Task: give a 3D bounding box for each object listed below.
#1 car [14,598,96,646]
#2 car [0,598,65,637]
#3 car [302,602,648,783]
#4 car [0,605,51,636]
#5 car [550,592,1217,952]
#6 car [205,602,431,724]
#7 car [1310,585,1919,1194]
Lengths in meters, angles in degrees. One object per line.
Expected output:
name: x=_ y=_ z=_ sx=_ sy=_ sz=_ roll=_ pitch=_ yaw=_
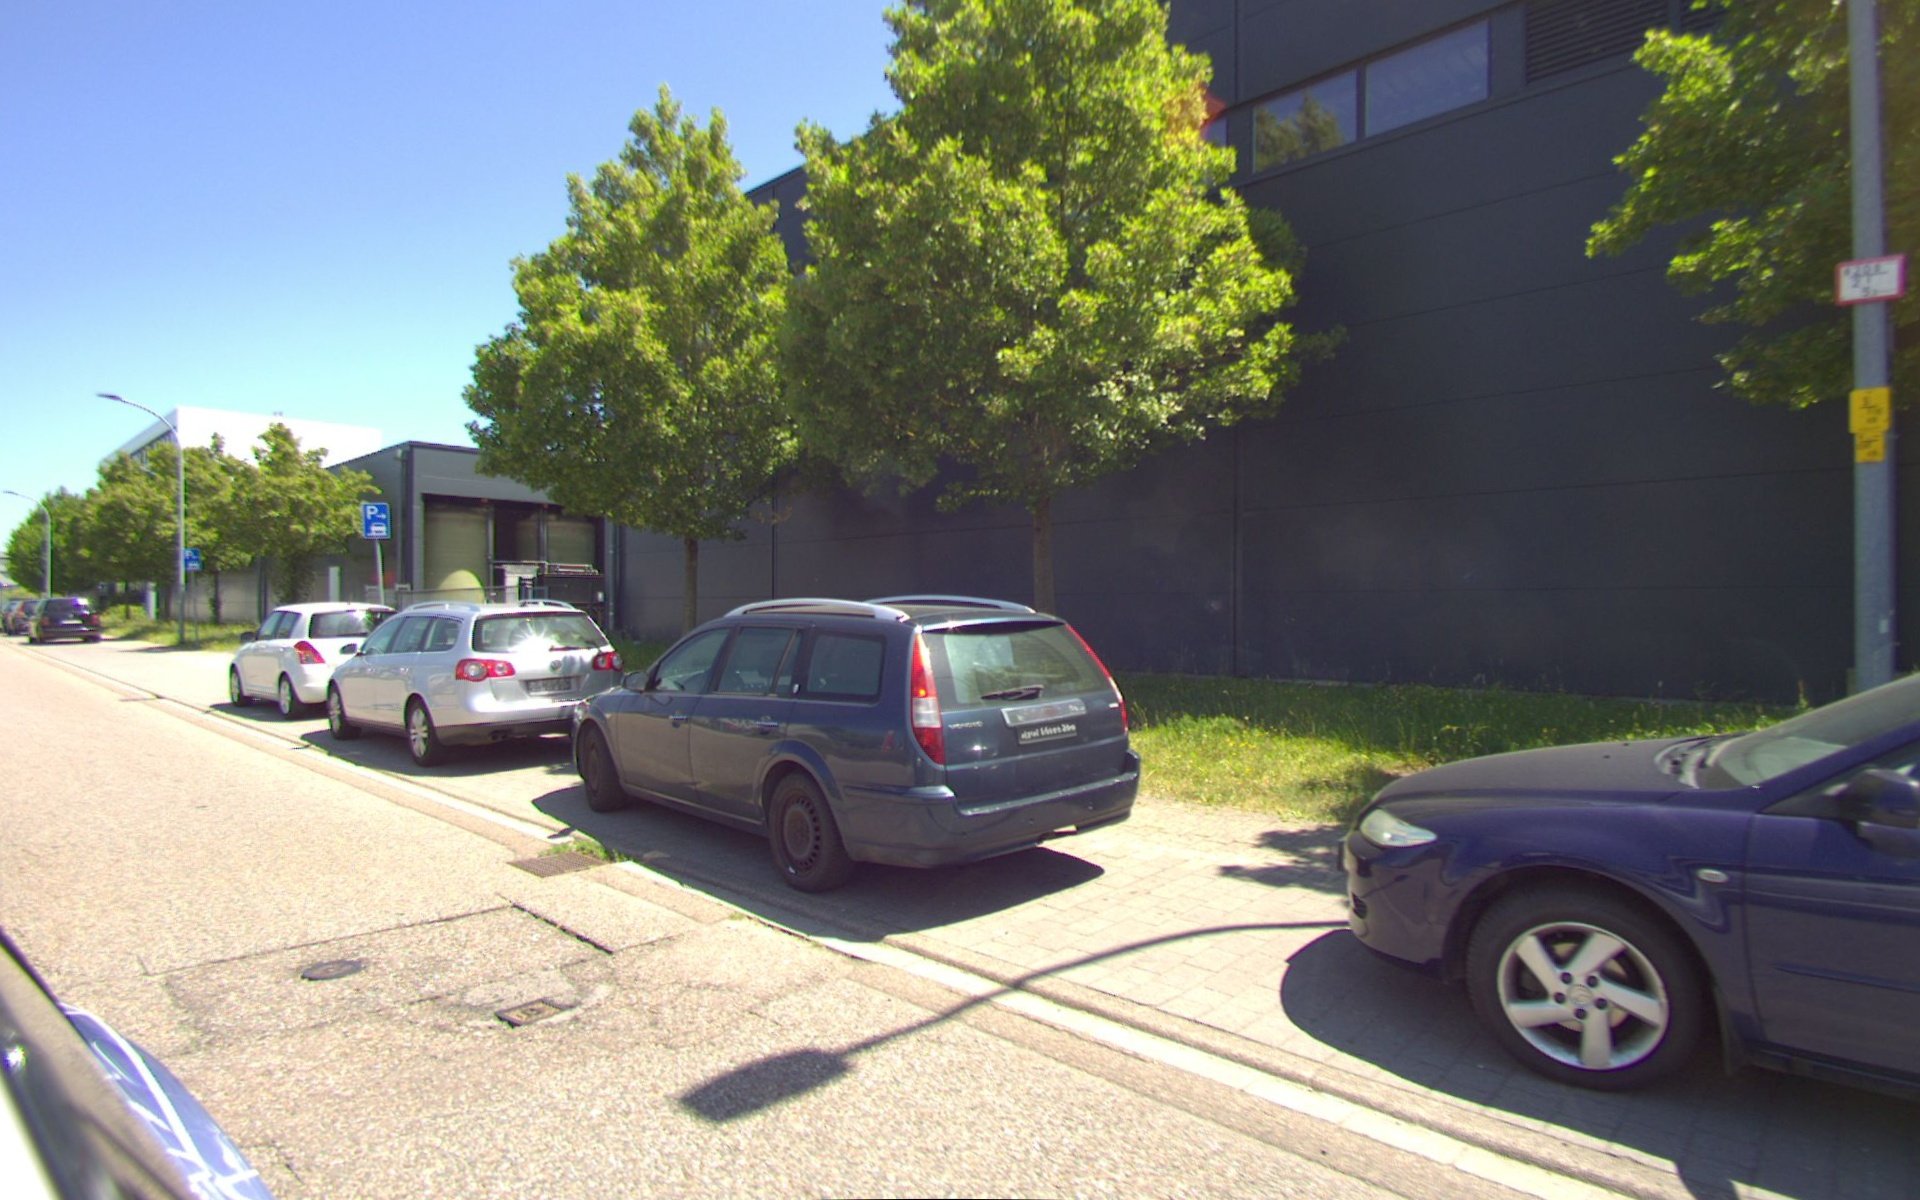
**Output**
car: x=-32.305 y=0.746 z=36.084 sx=4.246 sy=1.623 sz=1.752 roll=0 pitch=0 yaw=42
car: x=-40.986 y=0.752 z=44.605 sx=4.851 sy=1.623 sz=1.752 roll=0 pitch=0 yaw=42
car: x=-5.236 y=0.771 z=10.600 sx=4.555 sy=1.487 sz=1.779 roll=0 pitch=0 yaw=44
car: x=-45.322 y=0.952 z=48.838 sx=4.200 sy=1.442 sz=1.752 roll=0 pitch=0 yaw=42
car: x=-0.854 y=0.711 z=6.504 sx=1.778 sy=1.487 sz=4.642 roll=-1 pitch=0 yaw=-43
car: x=-9.237 y=0.788 z=14.454 sx=3.855 sy=1.487 sz=1.703 roll=0 pitch=0 yaw=41
car: x=3.498 y=0.698 z=2.617 sx=4.588 sy=1.487 sz=1.780 roll=0 pitch=0 yaw=43
